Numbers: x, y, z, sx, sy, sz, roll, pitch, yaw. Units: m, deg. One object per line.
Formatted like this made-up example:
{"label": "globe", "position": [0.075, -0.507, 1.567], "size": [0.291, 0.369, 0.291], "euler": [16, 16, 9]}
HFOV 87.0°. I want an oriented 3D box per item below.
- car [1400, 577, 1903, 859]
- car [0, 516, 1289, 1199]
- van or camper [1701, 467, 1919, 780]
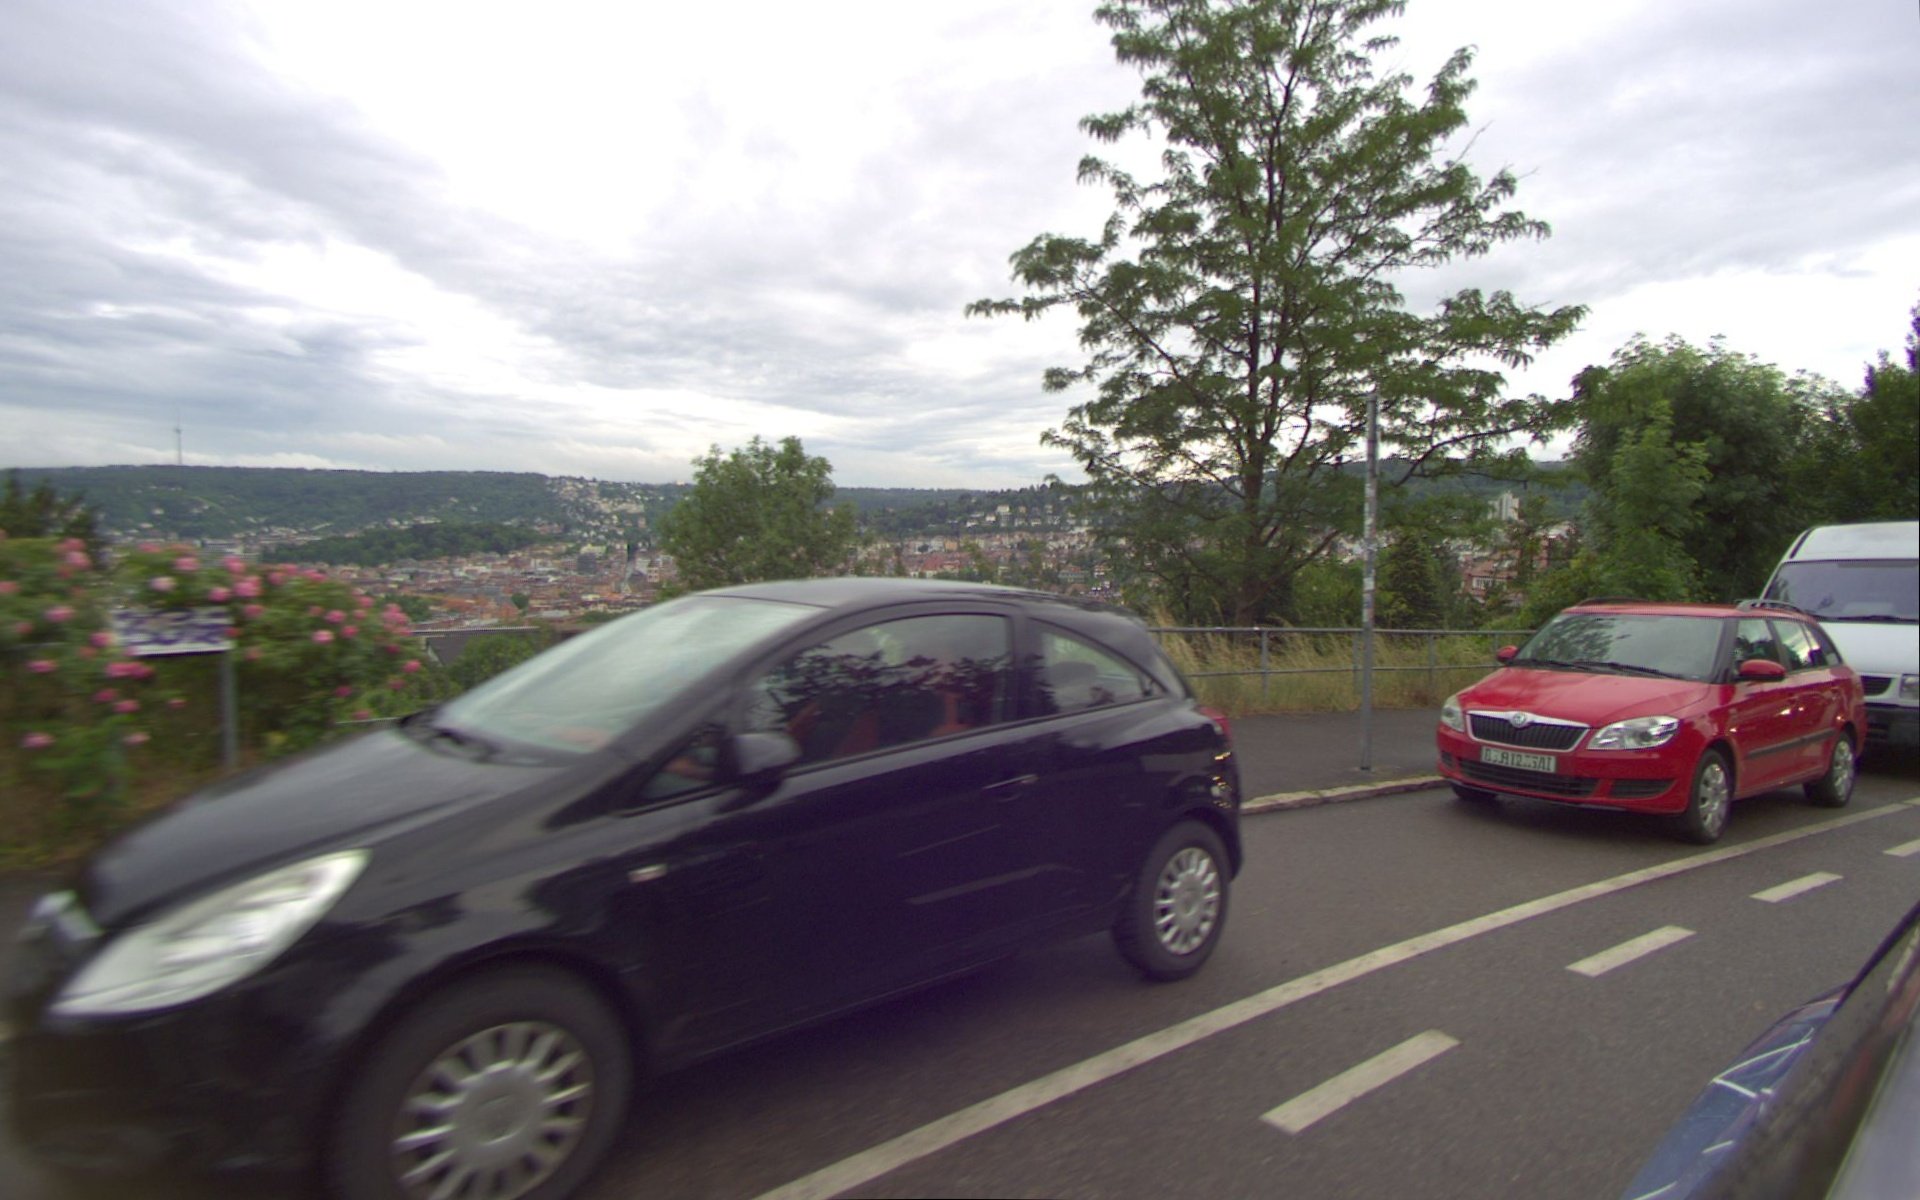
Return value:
{"label": "car", "position": [5.256, 0.700, 7.517], "size": [4.133, 1.559, 1.626], "euler": [2, 1, -34]}
{"label": "car", "position": [-0.686, 0.621, 3.503], "size": [3.877, 1.462, 1.698], "euler": [2, -1, -41]}
{"label": "van or camper", "position": [10.321, 0.262, 10.630], "size": [5.484, 2.694, 2.083], "euler": [2, 1, -31]}
